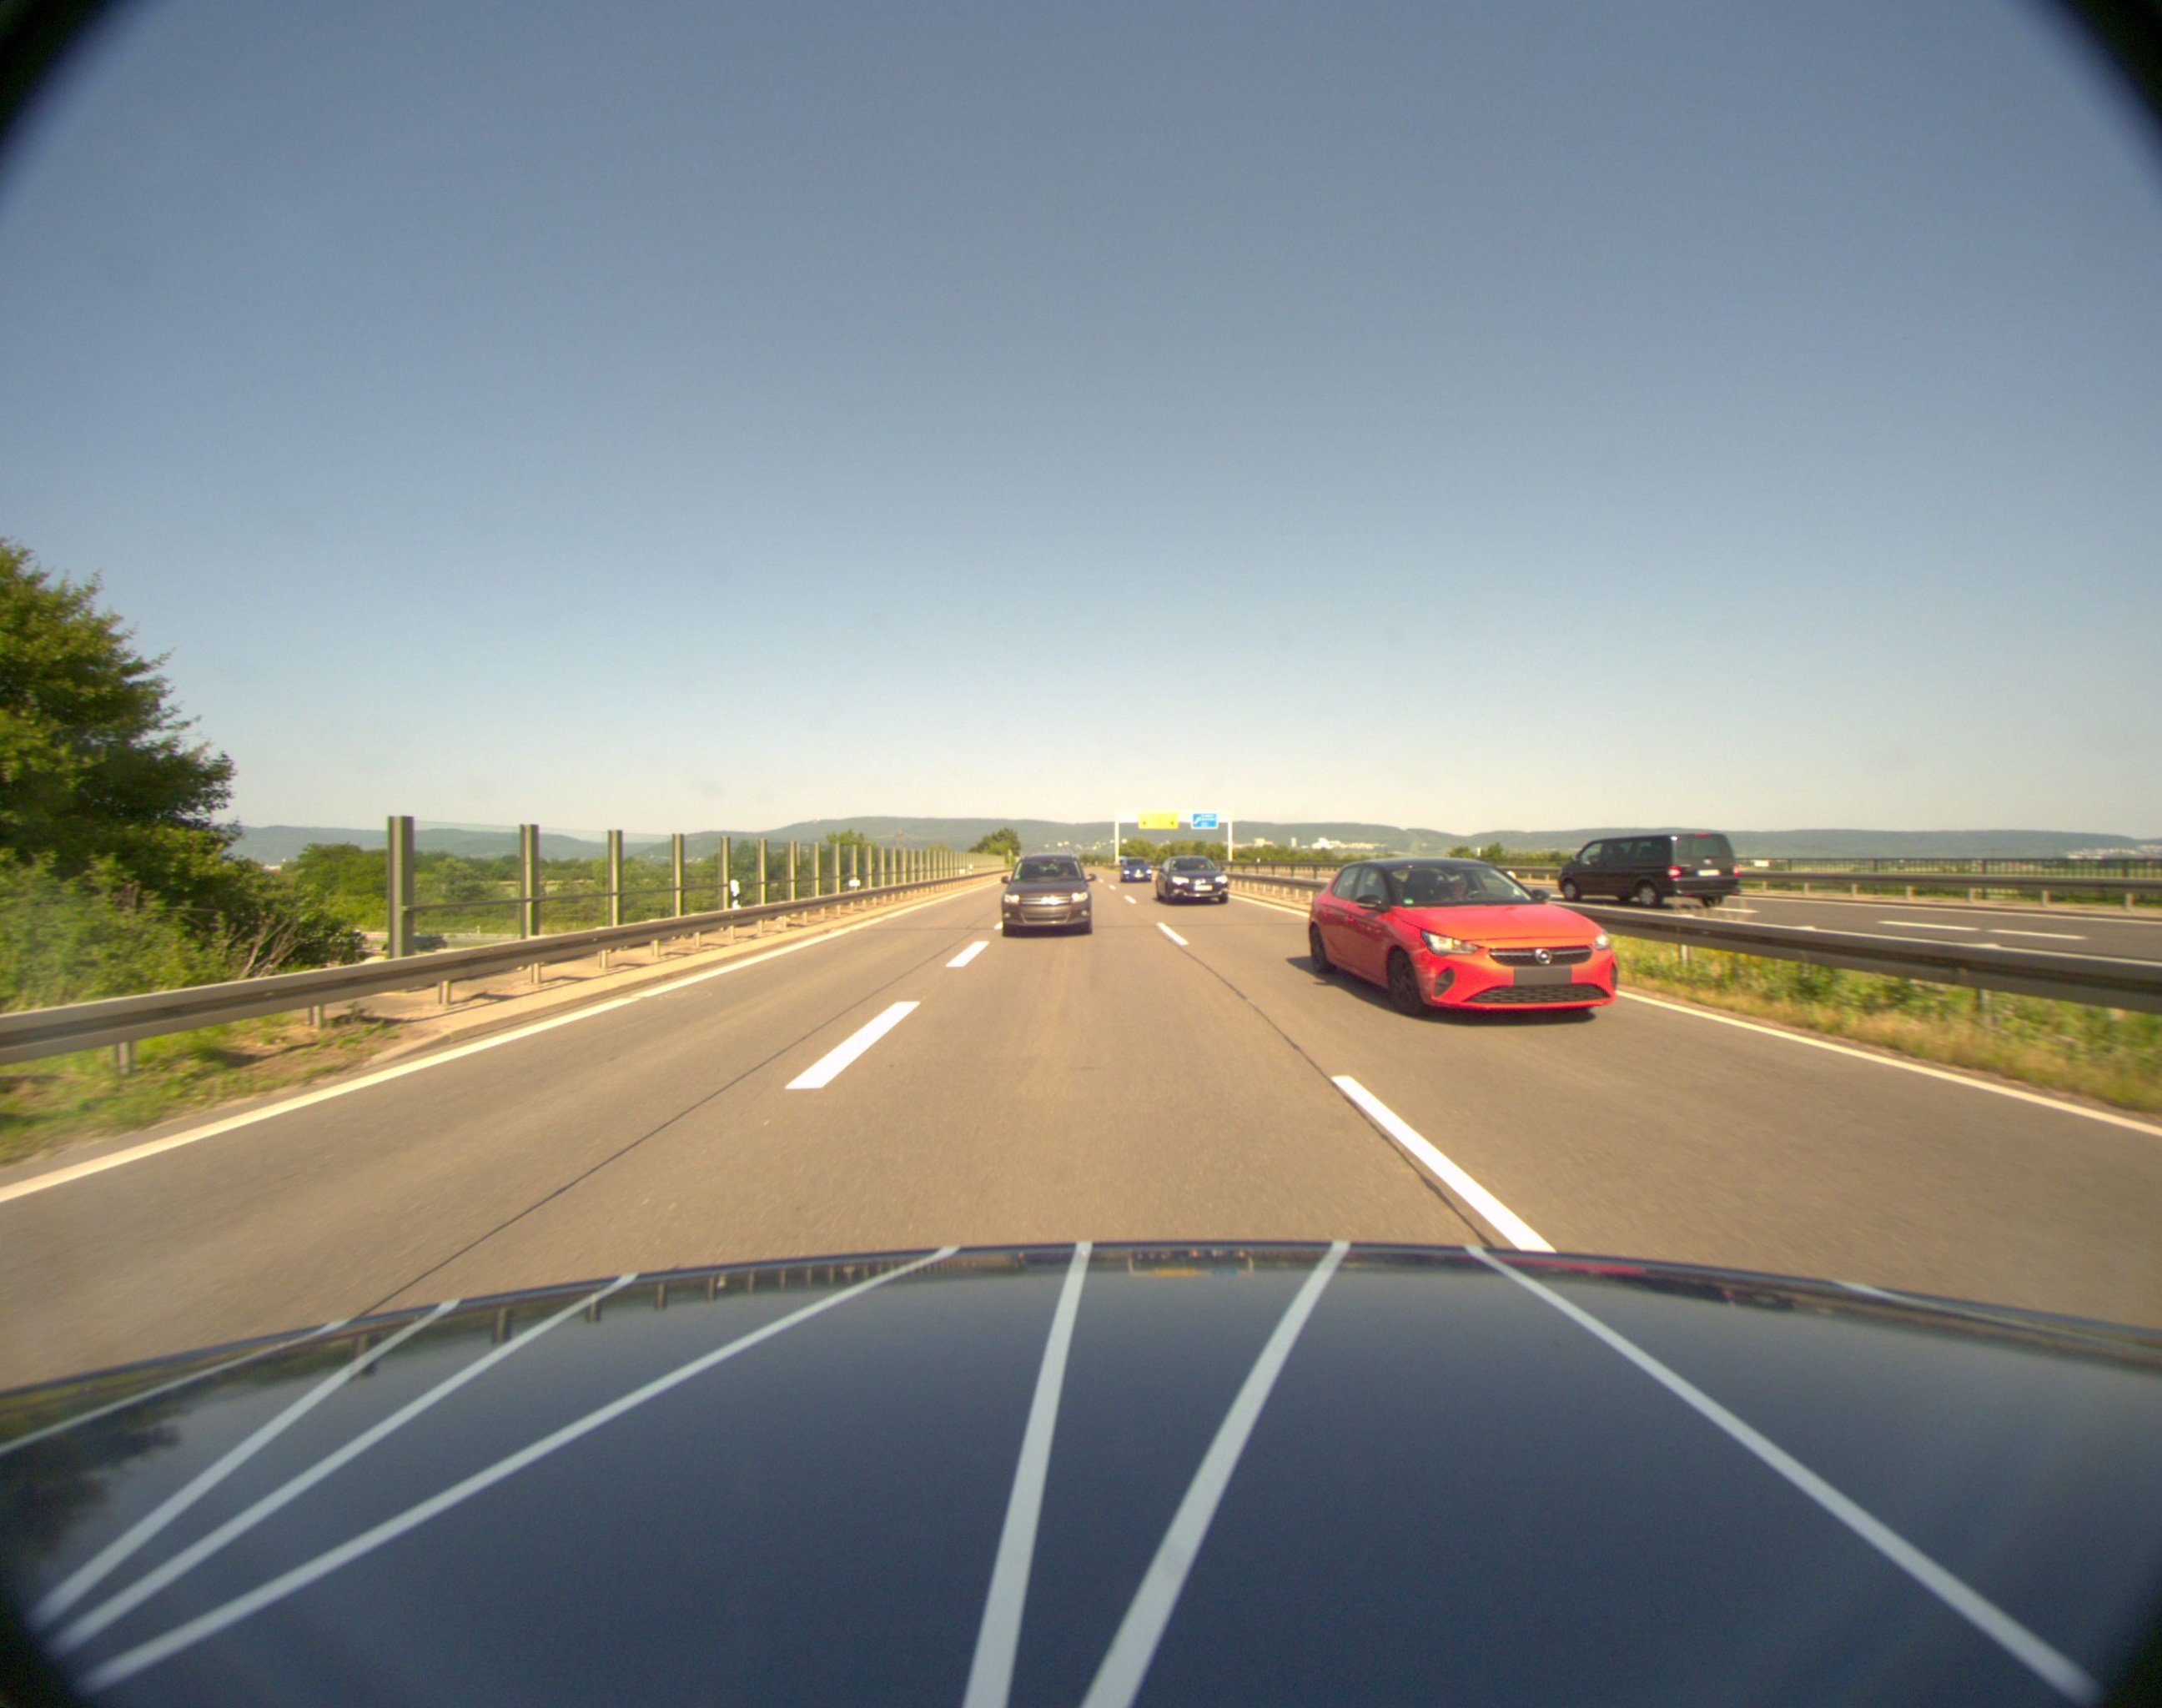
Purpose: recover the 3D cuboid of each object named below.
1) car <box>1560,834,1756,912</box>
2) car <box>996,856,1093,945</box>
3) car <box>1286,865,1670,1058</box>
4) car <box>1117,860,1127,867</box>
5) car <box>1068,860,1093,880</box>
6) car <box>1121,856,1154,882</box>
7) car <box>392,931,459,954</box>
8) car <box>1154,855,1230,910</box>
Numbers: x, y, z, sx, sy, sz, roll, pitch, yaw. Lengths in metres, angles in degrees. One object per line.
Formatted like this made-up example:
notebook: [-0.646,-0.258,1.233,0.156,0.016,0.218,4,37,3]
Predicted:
car: [15.719,0.472,21.067,1.999,1.895,4.416,-1,0,-2]
car: [-0.698,0.895,16.508,1.790,1.637,4.148,-2,0,0]
car: [3.661,0.862,8.067,1.713,1.428,4.412,-1,-1,0]
car: [9.119,2.057,168.459,1.830,1.420,4.530,-2,0,-3]
car: [0.003,1.084,52.013,1.600,1.241,4.000,-2,0,1]
car: [3.344,0.872,45.490,1.652,1.403,3.775,-2,1,0]
car: [-55.646,7.517,64.565,4.256,1.696,2.002,-2,0,10]
car: [3.422,0.855,24.132,1.788,1.524,4.375,-2,-1,1]
